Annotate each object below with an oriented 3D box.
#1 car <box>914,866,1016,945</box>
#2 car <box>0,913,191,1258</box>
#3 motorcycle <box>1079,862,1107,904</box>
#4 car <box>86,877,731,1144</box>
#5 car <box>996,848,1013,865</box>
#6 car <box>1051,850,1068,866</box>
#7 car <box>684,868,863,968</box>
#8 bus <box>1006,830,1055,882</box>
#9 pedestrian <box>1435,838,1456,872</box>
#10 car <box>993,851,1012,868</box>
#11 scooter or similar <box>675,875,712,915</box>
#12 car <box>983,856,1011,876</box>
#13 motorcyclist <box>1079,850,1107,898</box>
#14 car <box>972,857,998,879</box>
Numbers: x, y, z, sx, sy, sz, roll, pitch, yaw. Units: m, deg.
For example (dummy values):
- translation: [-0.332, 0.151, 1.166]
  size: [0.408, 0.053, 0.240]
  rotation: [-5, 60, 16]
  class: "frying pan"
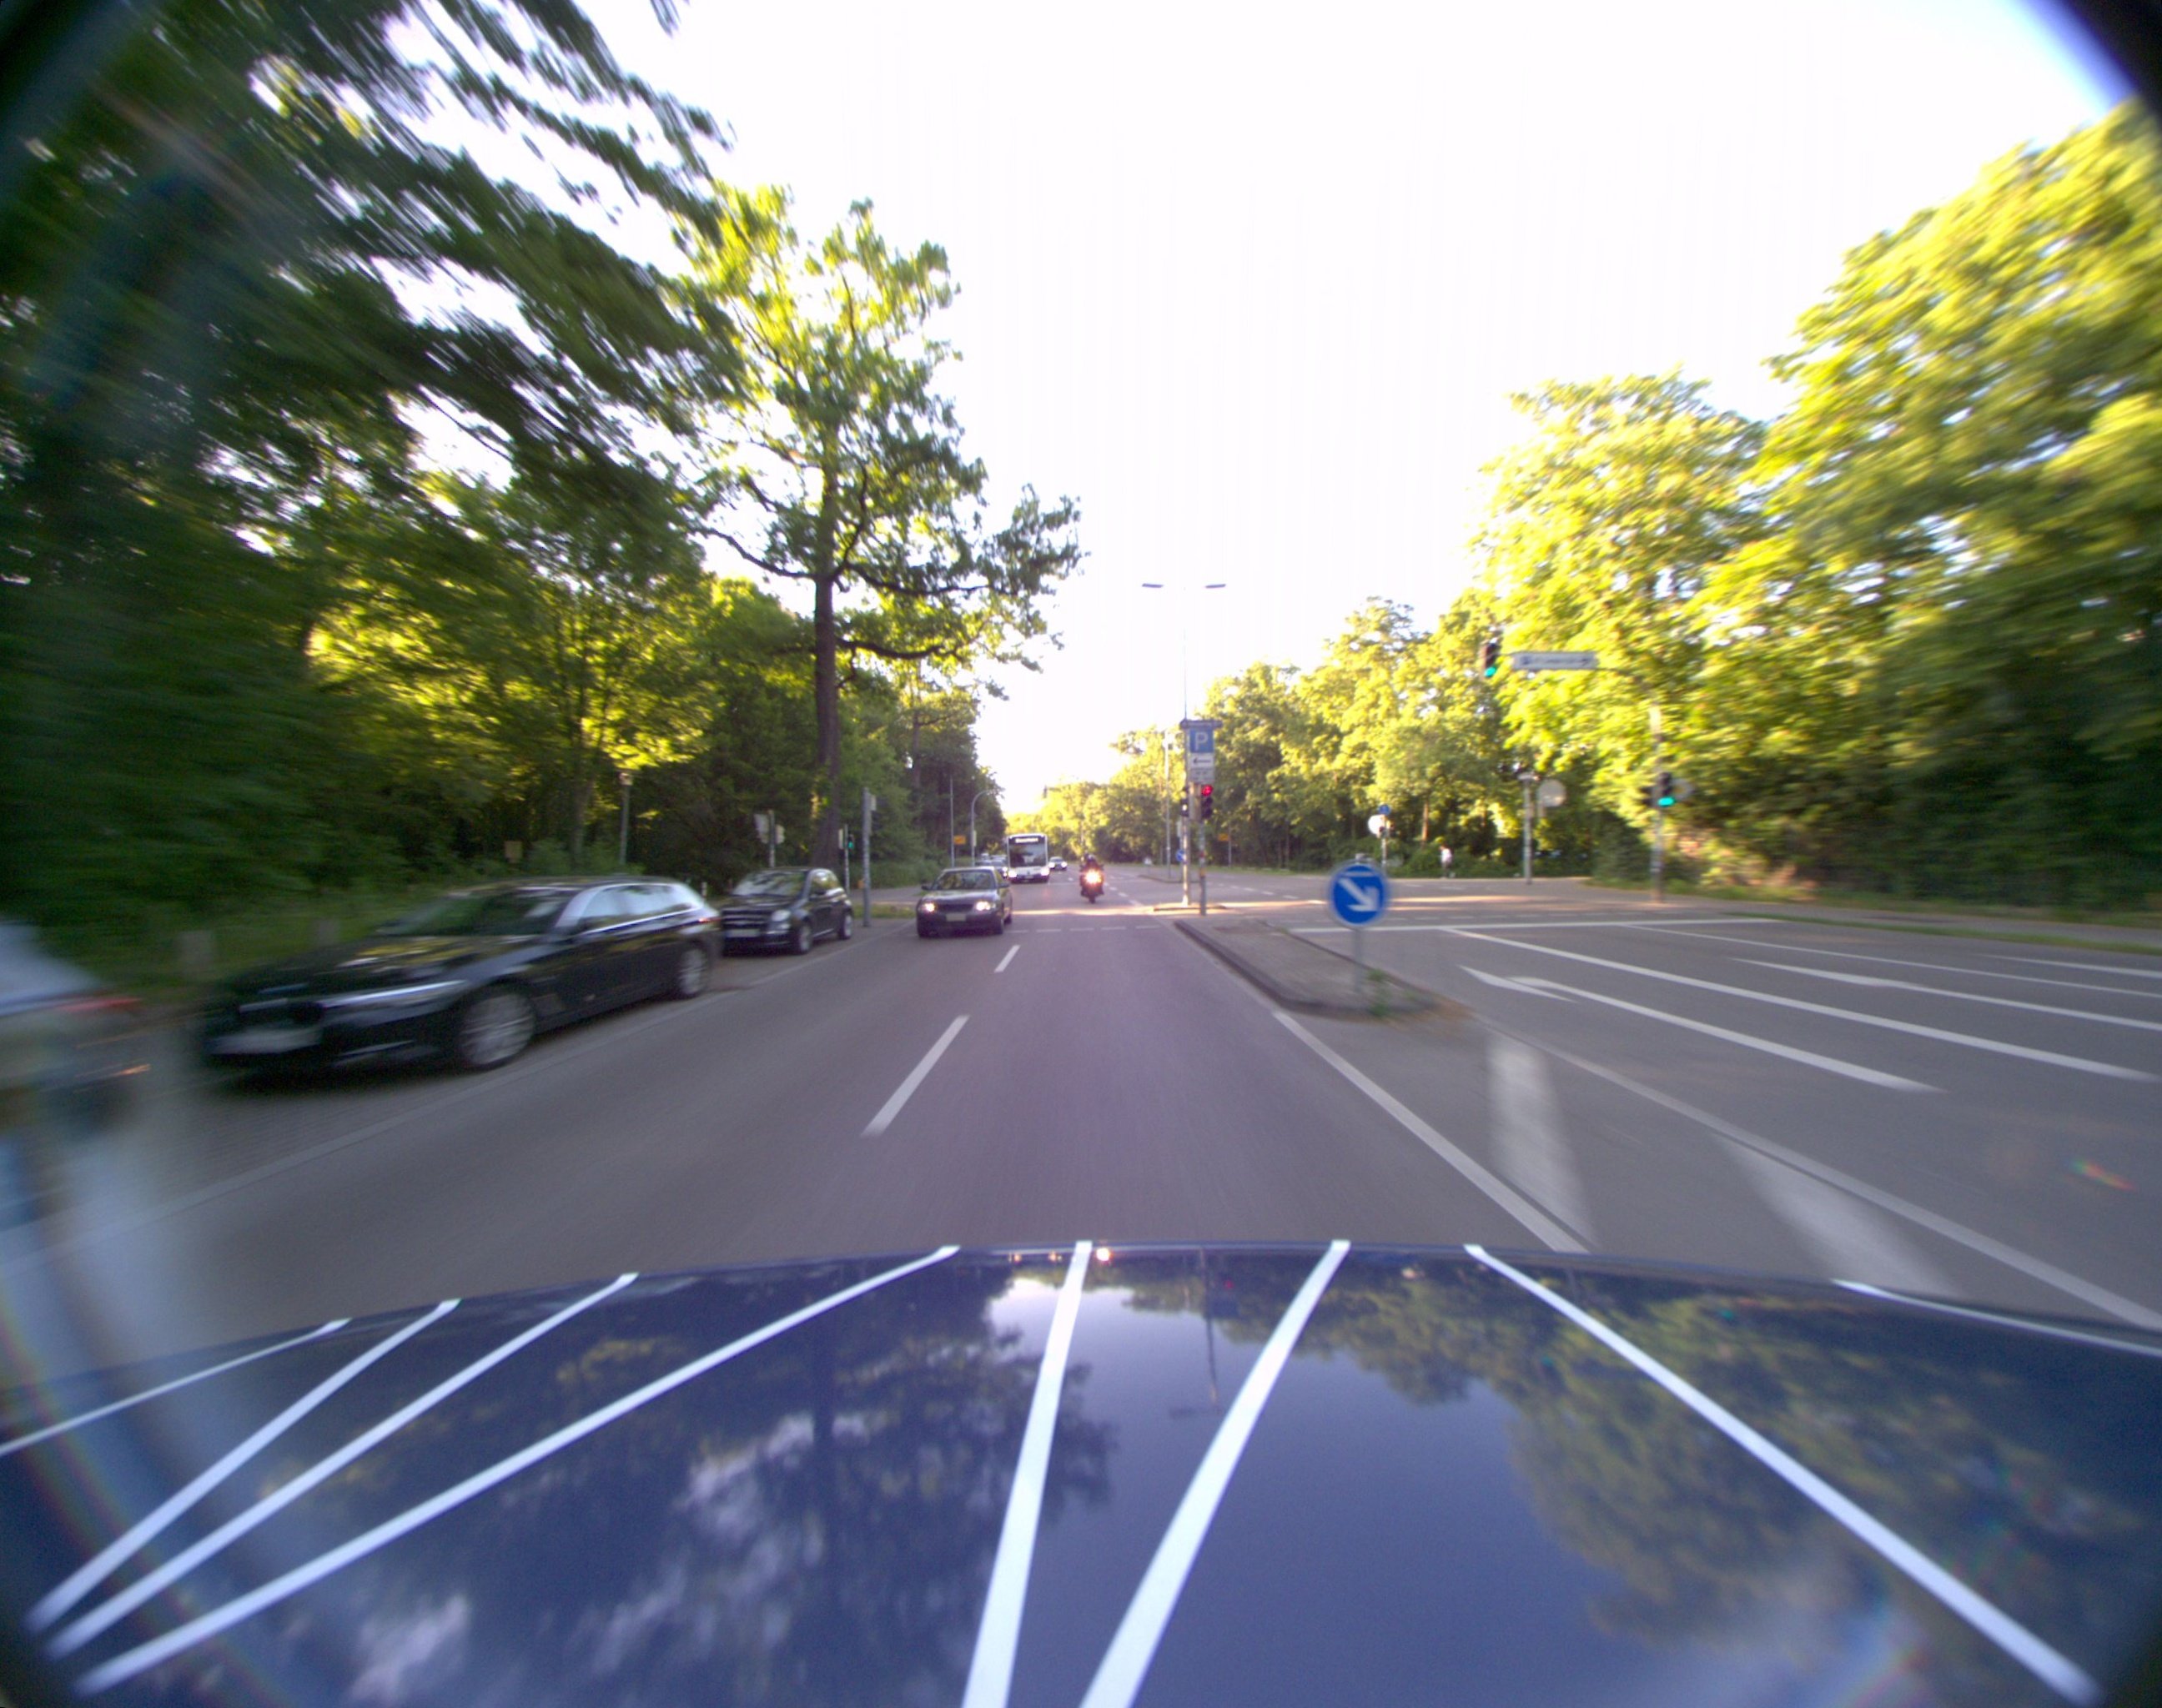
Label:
- translation: [-2.410, 1.019, 16.681]
  size: [1.679, 1.351, 3.993]
  rotation: [-2, 1, -2]
  class: "car"
- translation: [-5.655, 1.085, 1.956]
  size: [1.722, 1.460, 4.201]
  rotation: [-1, 1, 0]
  class: "car"
- translation: [0.403, 0.896, 24.523]
  size: [0.830, 1.212, 2.603]
  rotation: [-2, 1, 1]
  class: "motorcycle"
- translation: [-5.413, 1.073, 7.320]
  size: [1.722, 1.460, 4.987]
  rotation: [-1, 1, 0]
  class: "car"
- translation: [-9.324, 0.303, 92.318]
  size: [1.820, 1.910, 5.263]
  rotation: [-3, 1, -6]
  class: "car"
- translation: [-2.337, 0.408, 82.405]
  size: [1.679, 1.552, 3.992]
  rotation: [-2, 1, -4]
  class: "car"
- translation: [-5.447, 1.064, 14.005]
  size: [1.722, 1.460, 3.756]
  rotation: [-1, 1, 1]
  class: "car"
- translation: [-3.474, 0.092, 52.200]
  size: [2.813, 3.030, 12.880]
  rotation: [-2, 0, -4]
  class: "bus"
- translation: [18.380, 0.052, 38.308]
  size: [0.649, 1.701, 0.819]
  rotation: [-1, 1, -2]
  class: "pedestrian"
- translation: [-7.957, 0.515, 77.409]
  size: [1.820, 1.624, 3.827]
  rotation: [-1, 1, -5]
  class: "car"
- translation: [-11.997, 1.253, 23.536]
  size: [0.379, 1.137, 1.223]
  rotation: [-1, 1, 6]
  class: "scooter or similar"
- translation: [-6.641, 0.919, 60.640]
  size: [1.766, 1.460, 5.115]
  rotation: [-1, 1, -2]
  class: "car"
- translation: [0.406, 0.624, 24.514]
  size: [0.830, 1.484, 1.024]
  rotation: [-2, 1, 1]
  class: "motorcyclist"
- translation: [-6.888, 0.969, 54.923]
  size: [1.723, 1.460, 3.871]
  rotation: [-1, 1, -5]
  class: "car"
